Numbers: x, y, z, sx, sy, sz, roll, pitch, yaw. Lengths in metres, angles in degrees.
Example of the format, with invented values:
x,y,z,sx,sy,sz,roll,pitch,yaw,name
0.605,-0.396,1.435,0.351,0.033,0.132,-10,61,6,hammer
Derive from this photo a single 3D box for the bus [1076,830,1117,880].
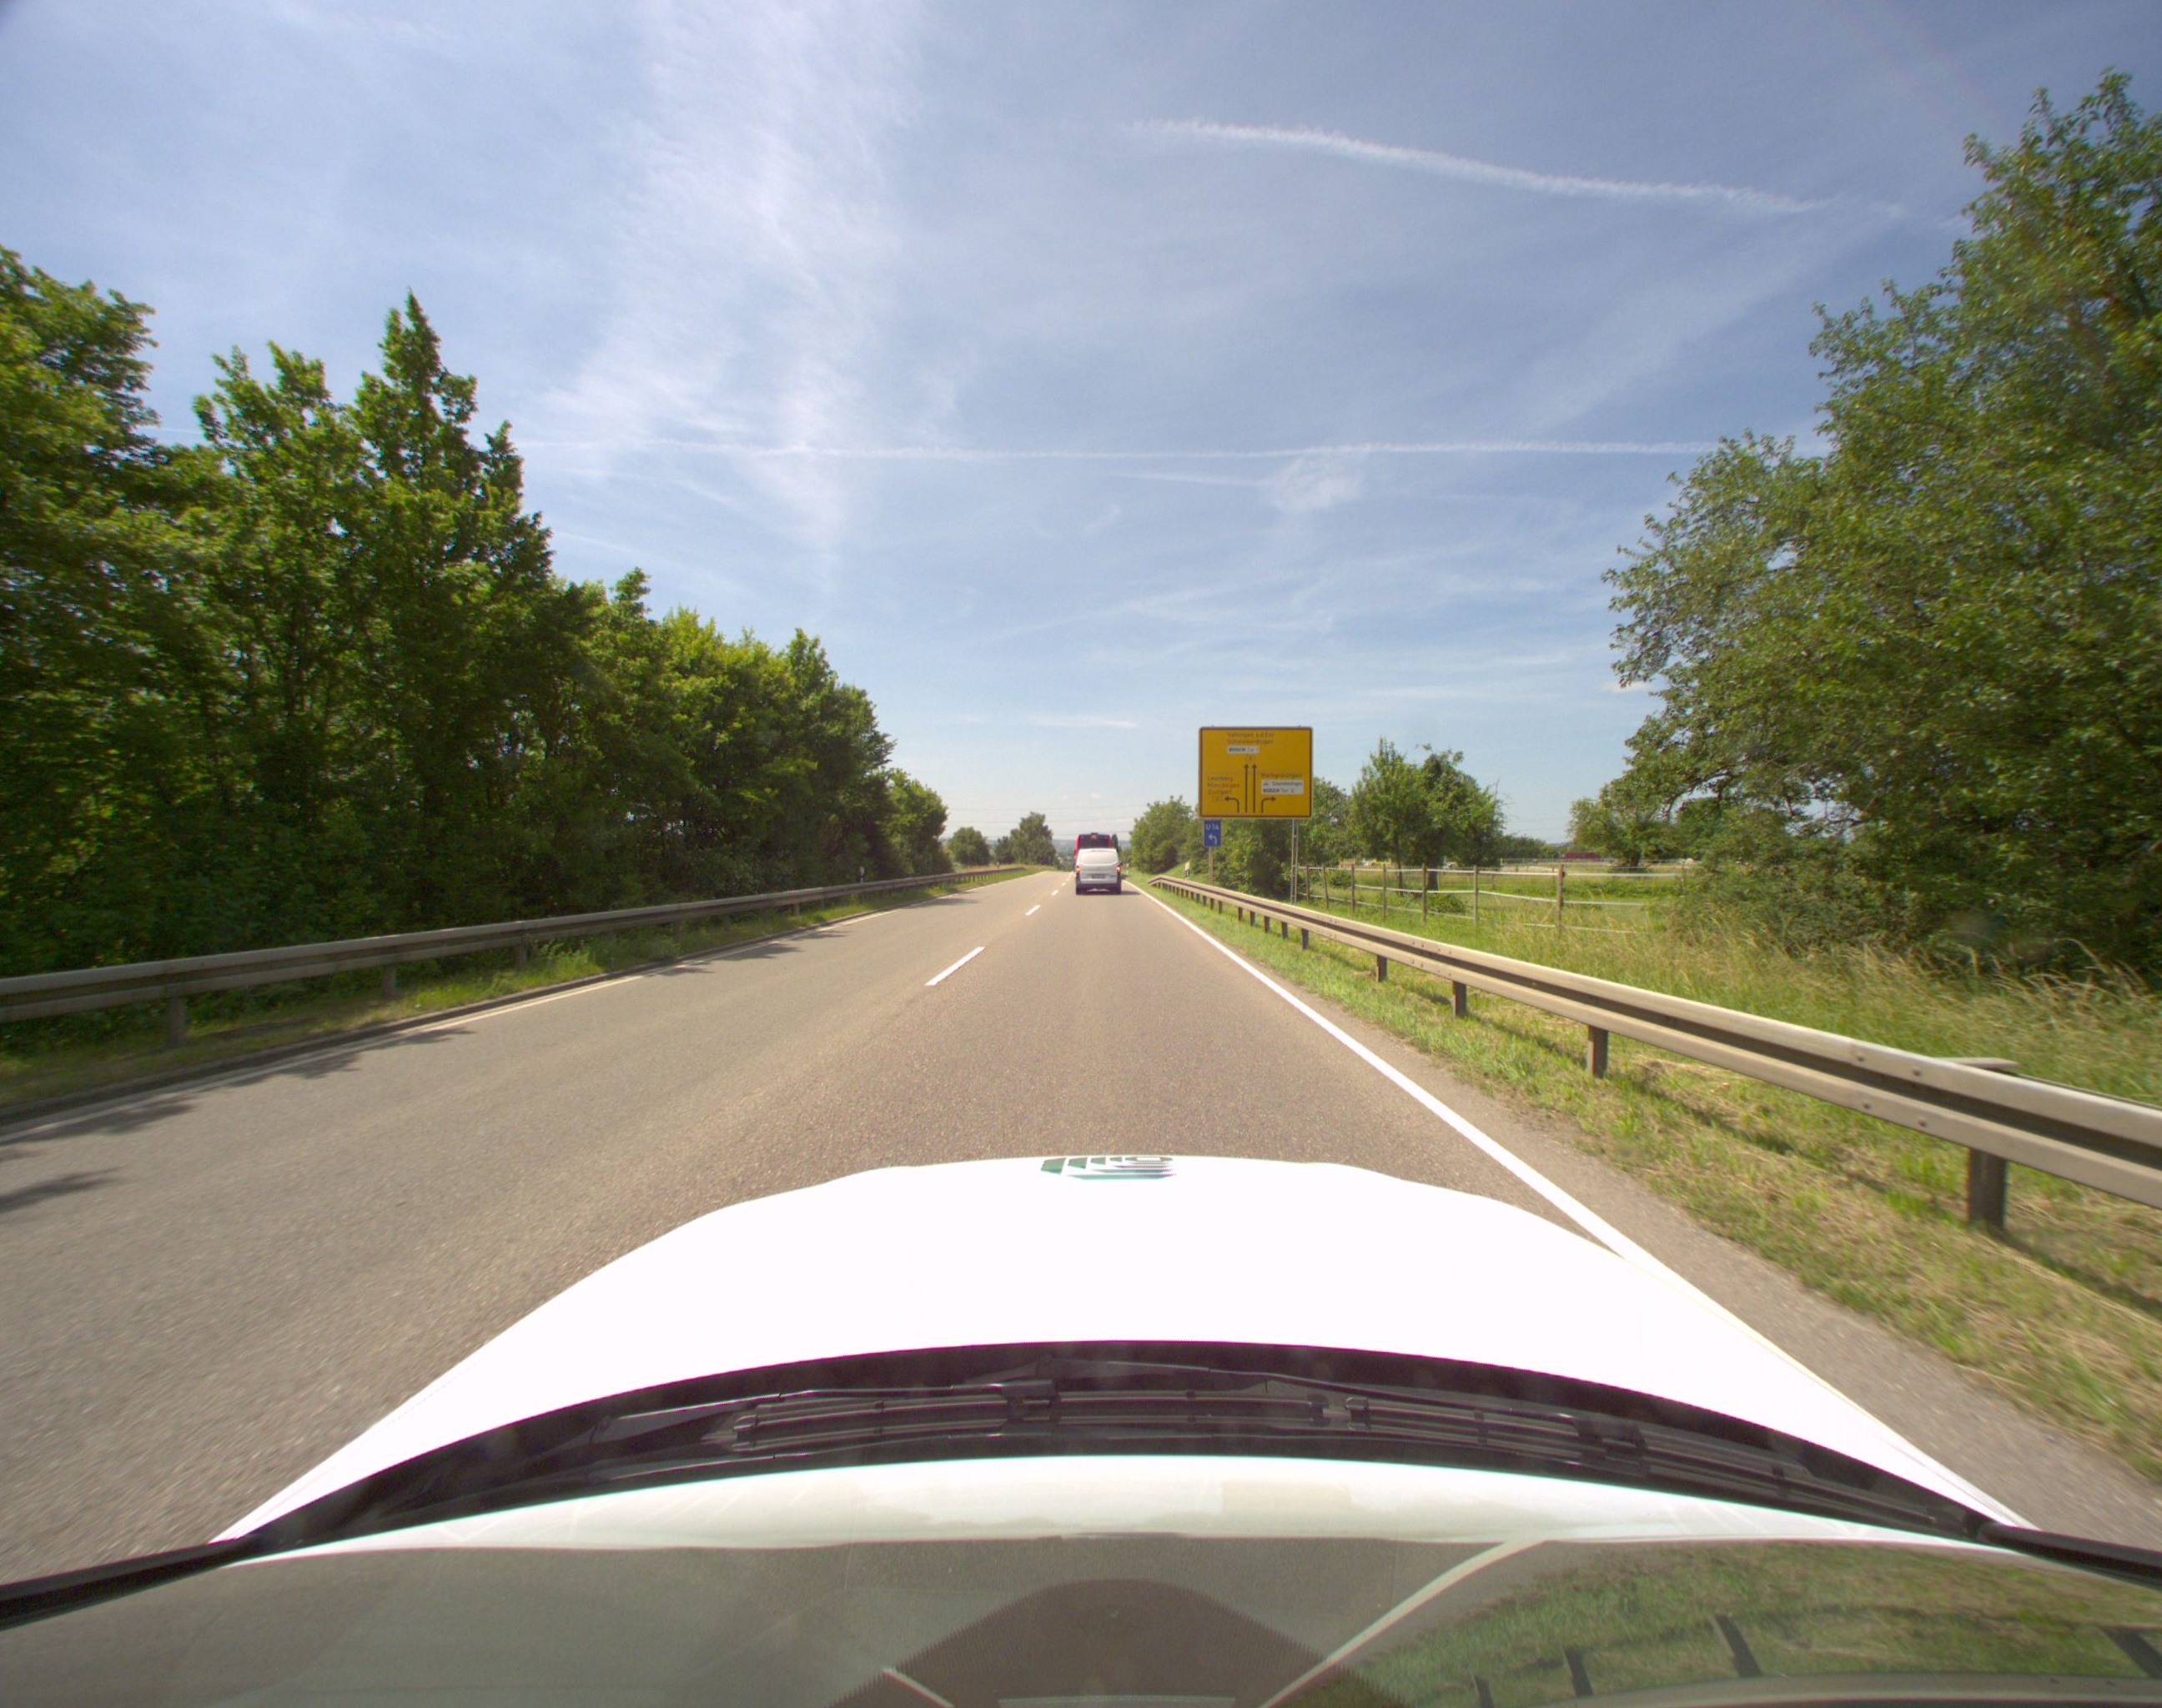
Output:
x,y,z,sx,sy,sz,roll,pitch,yaw,name
1.095,0.013,63.035,2.738,3.353,13.221,-1,1,0,bus

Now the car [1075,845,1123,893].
x,y,z,sx,sy,sz,roll,pitch,yaw,name
0.706,0.586,34.487,1.917,1.889,3.999,0,1,0,car
